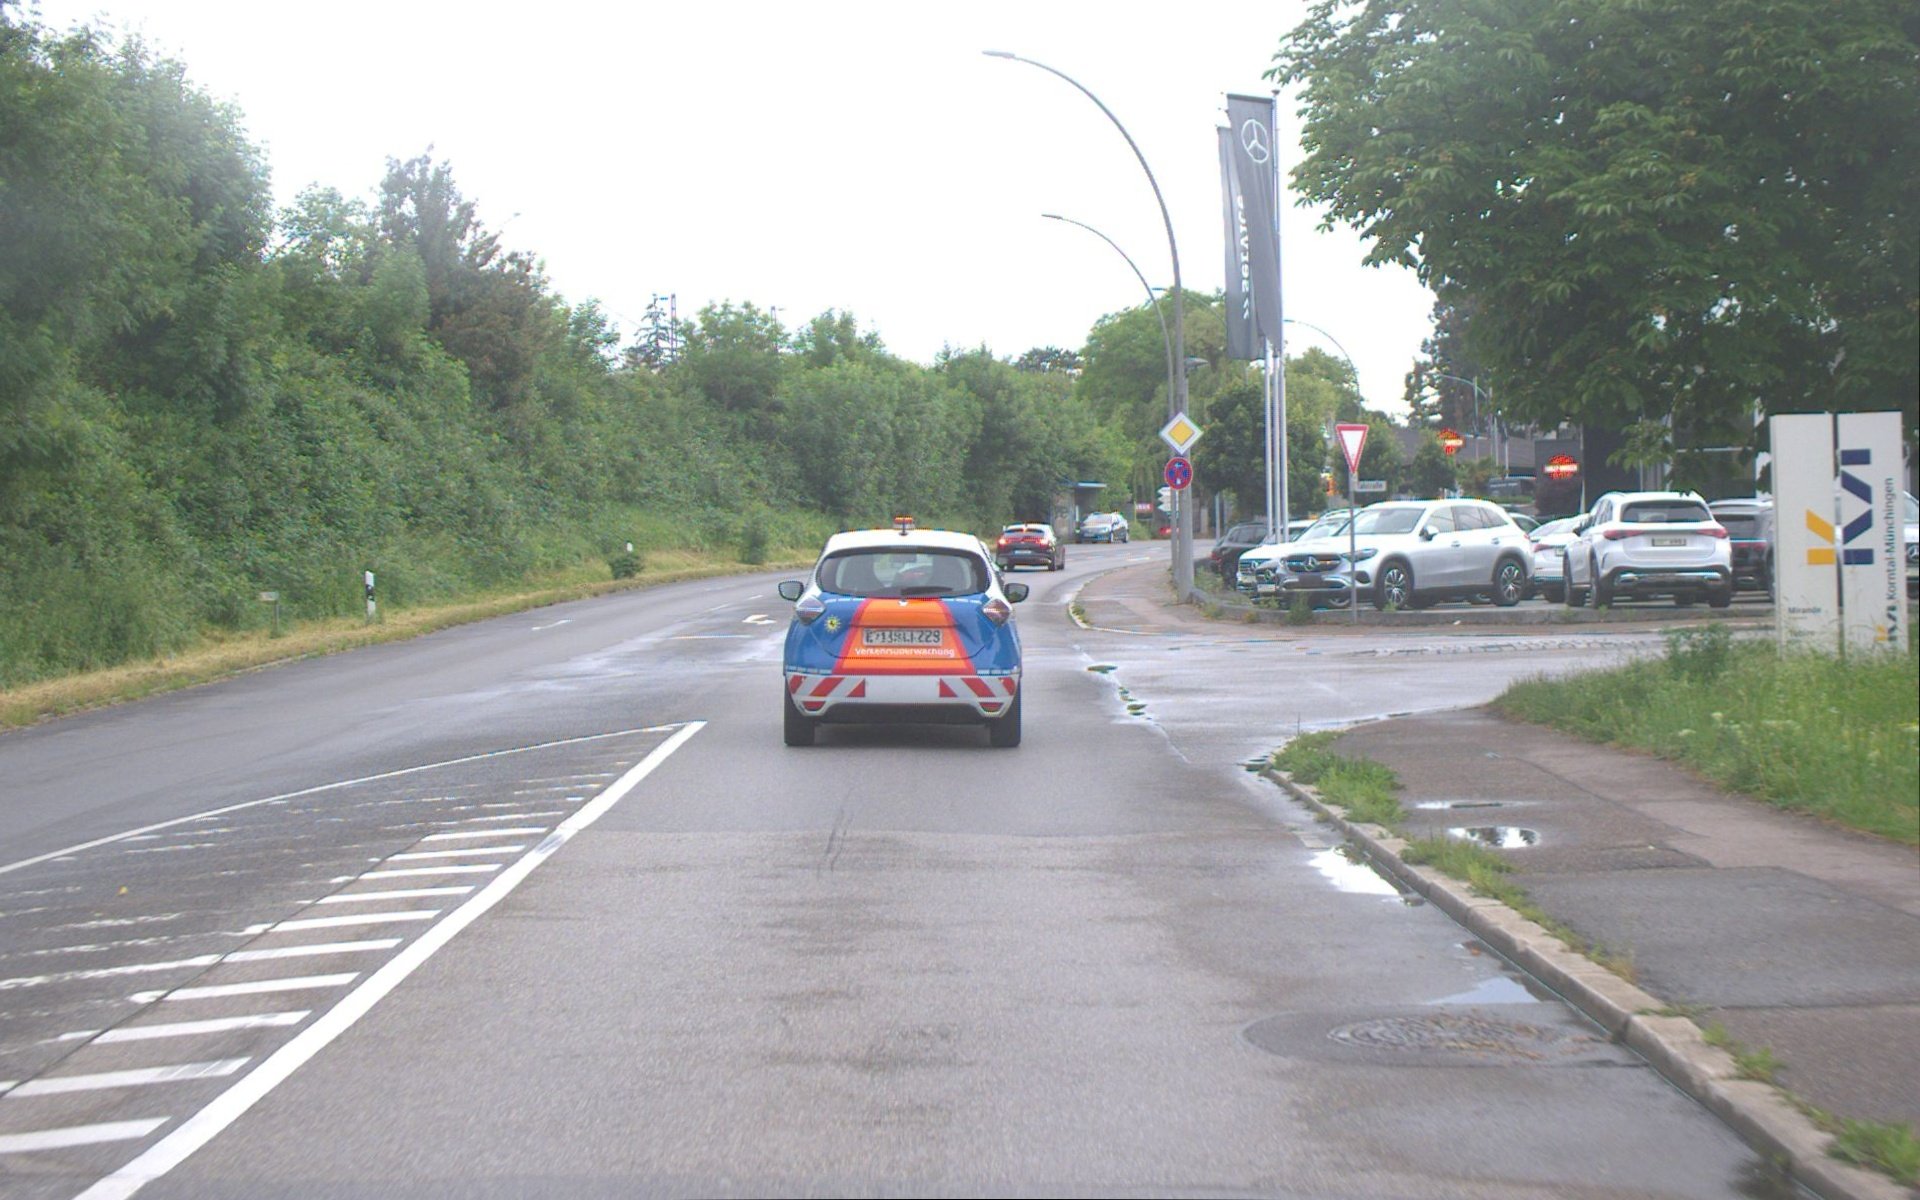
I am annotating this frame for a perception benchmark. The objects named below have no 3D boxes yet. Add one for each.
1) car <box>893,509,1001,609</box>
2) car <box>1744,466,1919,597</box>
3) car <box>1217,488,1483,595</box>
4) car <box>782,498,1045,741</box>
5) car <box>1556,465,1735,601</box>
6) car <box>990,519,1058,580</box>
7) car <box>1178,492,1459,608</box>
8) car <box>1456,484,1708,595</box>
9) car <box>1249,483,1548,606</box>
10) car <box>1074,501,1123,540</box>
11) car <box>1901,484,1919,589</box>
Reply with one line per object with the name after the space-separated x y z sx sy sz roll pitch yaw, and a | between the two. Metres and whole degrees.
-0.180 -0.680 57.466 1.694 1.590 3.856 1 1 1 | car
12.686 -0.939 48.566 1.936 1.745 4.619 1 1 -3 | car
6.787 -0.982 59.563 4.604 1.745 1.807 0 -1 -37 | car
-0.344 0.117 25.912 1.806 1.662 3.856 1 1 -1 | car
9.741 -0.939 49.144 1.826 1.823 4.263 1 1 2 | car
1.971 -1.525 104.534 1.694 1.784 3.855 1 1 6 | car
5.791 -0.769 55.196 4.606 1.745 2.034 1 -1 -45 | car
10.260 -1.021 56.506 1.930 1.745 4.607 1 2 42 | car
6.649 -0.821 51.797 4.606 1.745 2.034 1 1 -45 | car
6.677 -3.809 165.578 1.695 1.784 3.854 1 1 12 | car
15.724 -0.933 50.895 1.649 1.597 4.620 1 1 -9 | car
